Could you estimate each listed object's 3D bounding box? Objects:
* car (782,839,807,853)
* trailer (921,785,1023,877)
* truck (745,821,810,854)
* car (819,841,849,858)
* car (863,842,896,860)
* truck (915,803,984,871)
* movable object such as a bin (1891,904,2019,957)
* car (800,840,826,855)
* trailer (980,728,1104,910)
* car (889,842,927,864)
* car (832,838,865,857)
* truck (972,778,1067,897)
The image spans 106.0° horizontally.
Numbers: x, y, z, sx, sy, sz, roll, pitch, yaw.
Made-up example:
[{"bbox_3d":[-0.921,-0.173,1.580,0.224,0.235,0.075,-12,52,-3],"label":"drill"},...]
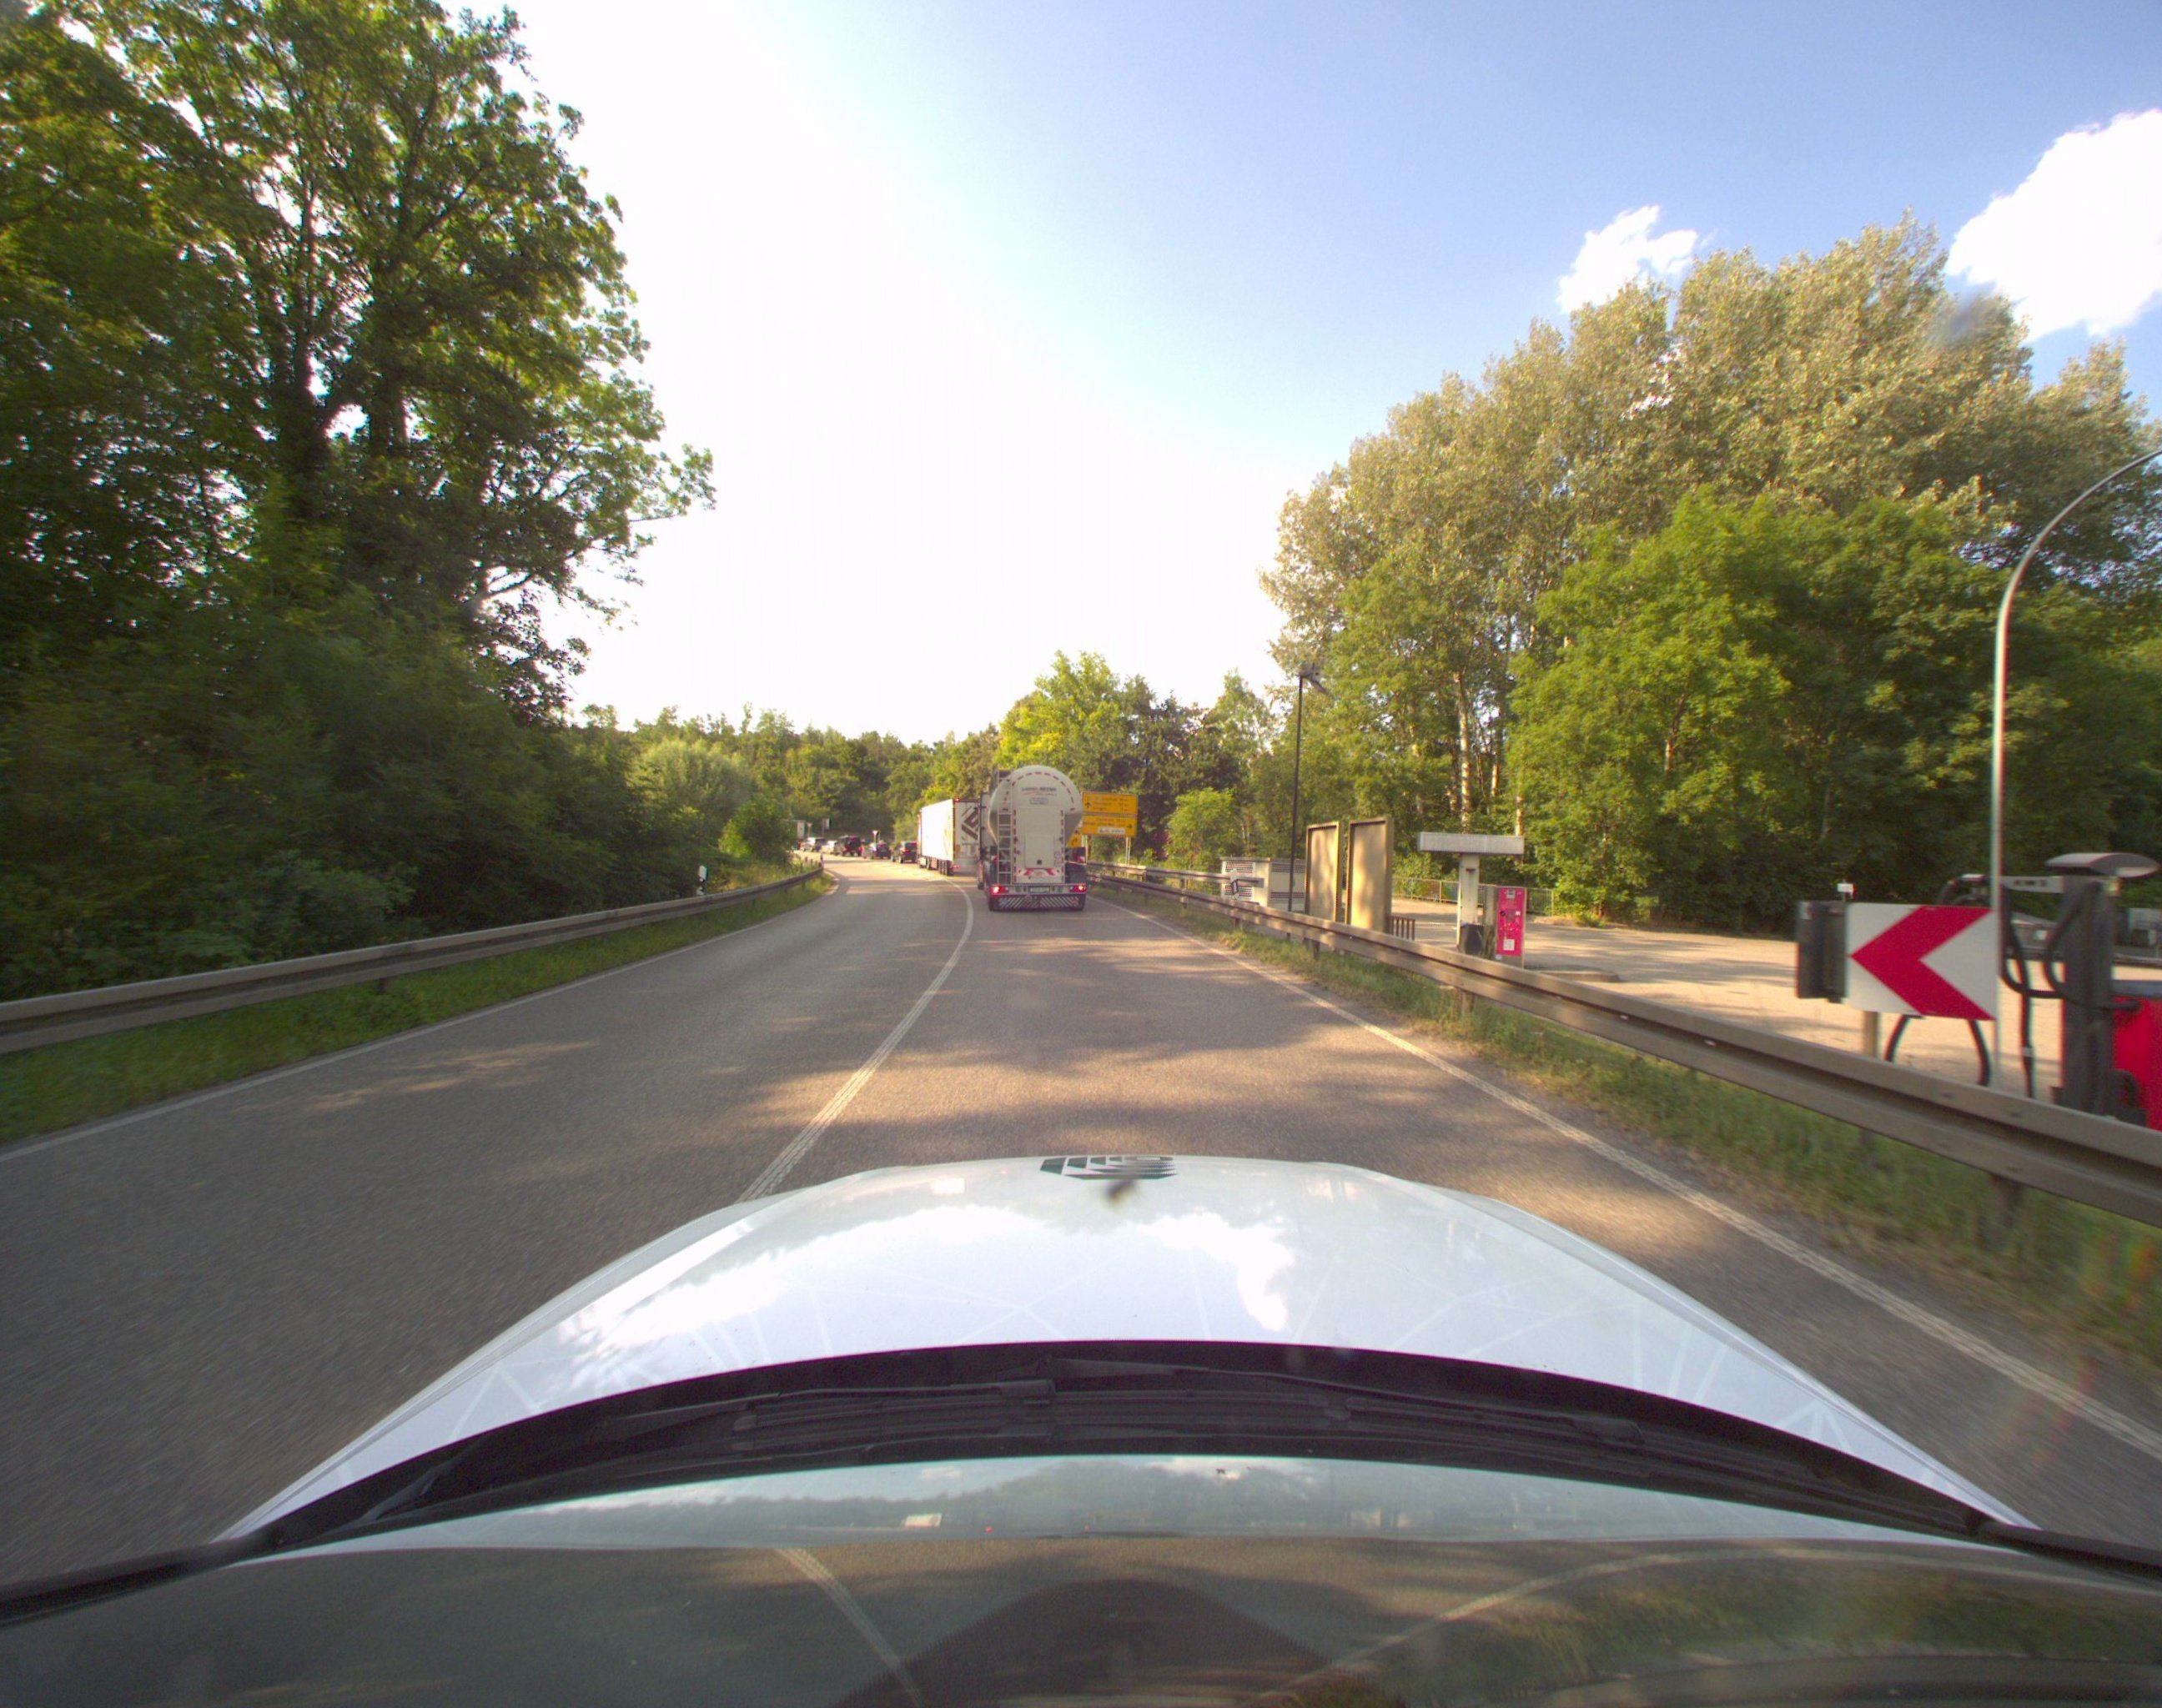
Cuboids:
[{"bbox_3d":[-35.257,-1.033,100.206,1.881,1.565,3.958,2,0,-35],"label":"car"},{"bbox_3d":[-6.642,-1.155,46.916,3.555,4.513,12.906,1,0,-18],"label":"trailer"},{"bbox_3d":[-45.761,-2.389,123.231,2.986,4.585,10.293,2,0,21],"label":"truck"},{"bbox_3d":[-26.530,-0.523,87.392,1.881,1.683,3.959,2,0,-34],"label":"car"},{"bbox_3d":[-18.056,-0.278,72.889,1.879,1.564,3.962,-1,1,-29],"label":"car"},{"bbox_3d":[-8.713,-1.052,53.447,3.459,4.086,6.451,1,0,-18],"label":"truck"},{"bbox_3d":[28.406,2.458,26.550,1.265,1.420,2.551,4,0,-7],"label":"movable object such as a bin"},{"bbox_3d":[-30.586,-0.775,92.878,1.881,1.595,3.959,3,0,-34],"label":"car"},{"bbox_3d":[-1.550,-0.878,25.295,2.885,4.454,9.580,2,0,-8],"label":"trailer"},{"bbox_3d":[-13.691,-0.104,64.137,1.878,1.628,3.964,2,0,-28],"label":"car"},{"bbox_3d":[-23.054,-0.668,80.721,1.971,1.851,3.958,-1,2,-34],"label":"car"},{"bbox_3d":[-2.519,-0.588,31.323,2.825,4.035,5.872,2,0,-11],"label":"truck"}]
